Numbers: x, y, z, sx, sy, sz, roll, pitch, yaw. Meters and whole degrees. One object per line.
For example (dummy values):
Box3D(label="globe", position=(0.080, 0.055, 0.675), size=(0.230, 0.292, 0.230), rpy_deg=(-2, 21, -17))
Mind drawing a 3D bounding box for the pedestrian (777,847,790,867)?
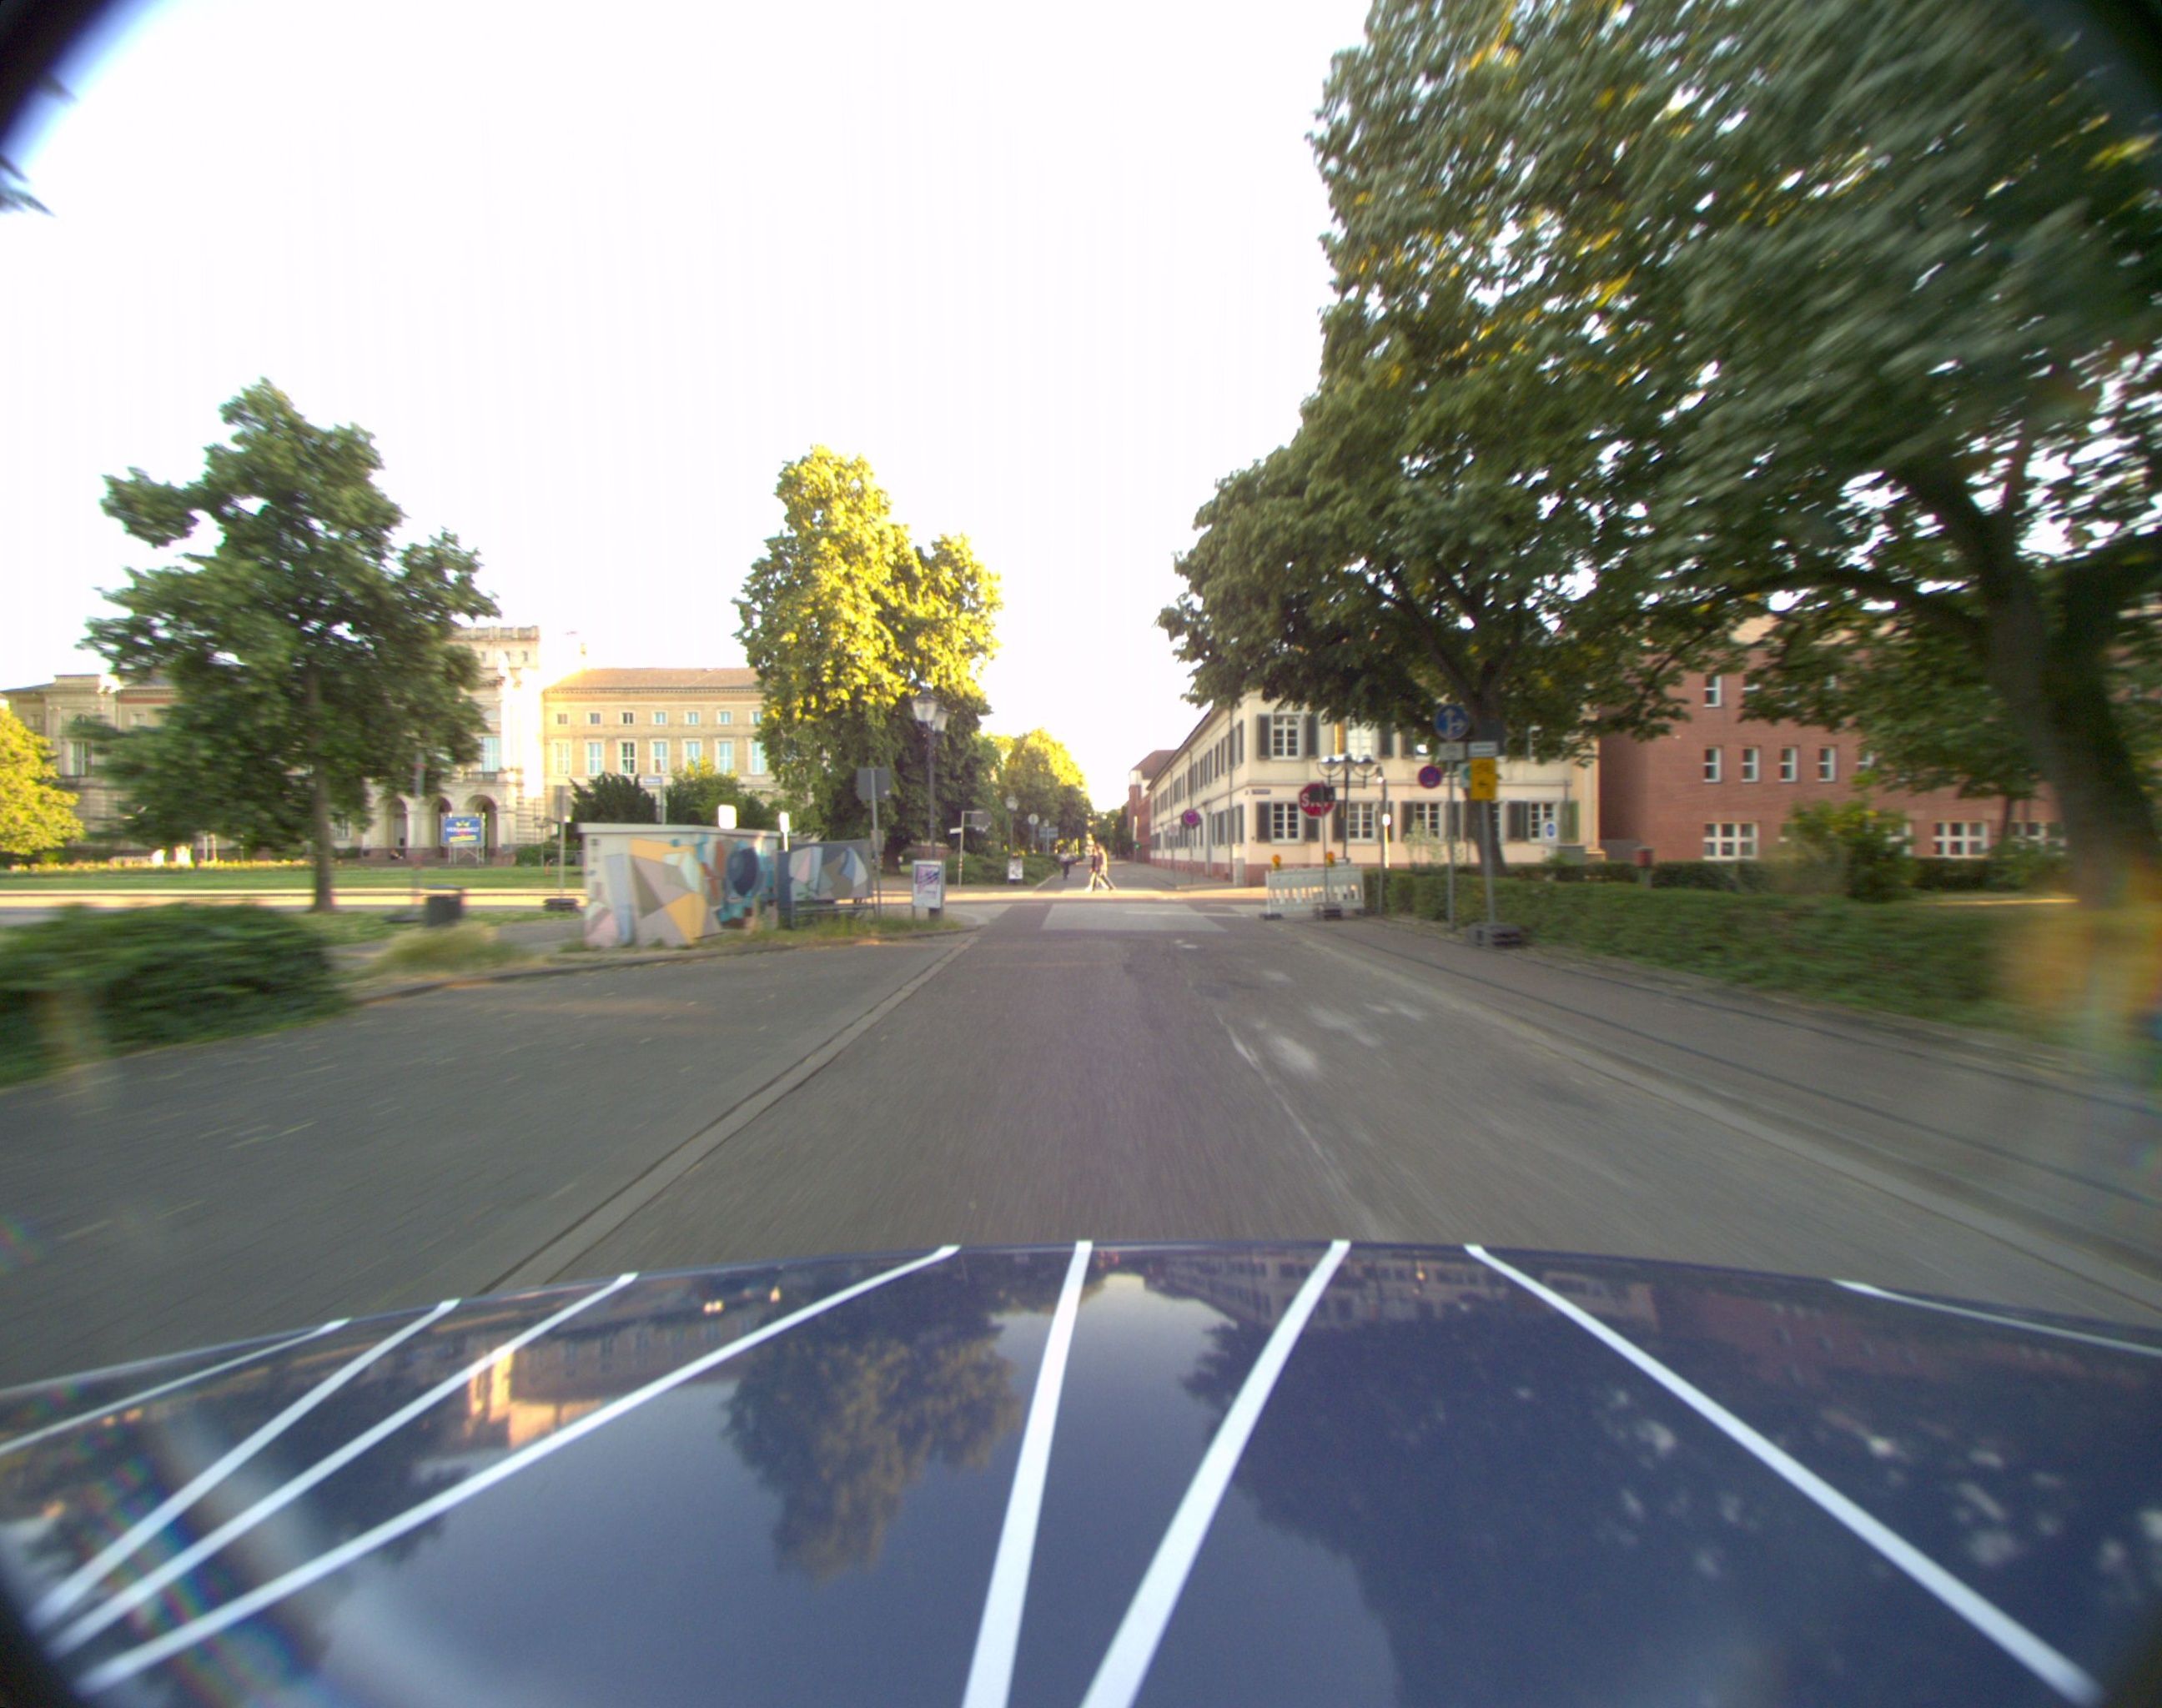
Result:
Box3D(label="pedestrian", position=(-22.447, 0.221, 57.279), size=(0.754, 1.435, 0.816), rpy_deg=(-1, 1, -33))

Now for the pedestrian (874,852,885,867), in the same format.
Box3D(label="pedestrian", position=(-14.058, 0.395, 52.971), size=(0.605, 1.044, 0.394), rpy_deg=(-1, 1, -35))

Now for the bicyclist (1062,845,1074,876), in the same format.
Box3D(label="bicyclist", position=(-0.778, 0.392, 44.706), size=(0.672, 1.793, 1.060), rpy_deg=(-1, 1, -2))

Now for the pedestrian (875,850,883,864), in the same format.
Box3D(label="pedestrian", position=(-14.402, 0.208, 54.223), size=(0.396, 1.044, 0.602), rpy_deg=(-1, 1, -30))

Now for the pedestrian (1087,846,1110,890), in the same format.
Box3D(label="pedestrian", position=(0.677, 0.541, 29.805), size=(0.859, 1.730, 0.649), rpy_deg=(0, 1, -1))

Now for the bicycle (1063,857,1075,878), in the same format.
Box3D(label="bicycle", position=(-0.731, 0.779, 44.605), size=(0.653, 1.175, 2.344), rpy_deg=(0, 1, -2))

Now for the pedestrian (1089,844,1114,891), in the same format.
Box3D(label="pedestrian", position=(0.770, 0.506, 28.941), size=(0.941, 1.777, 0.762), rpy_deg=(0, 1, -1))
